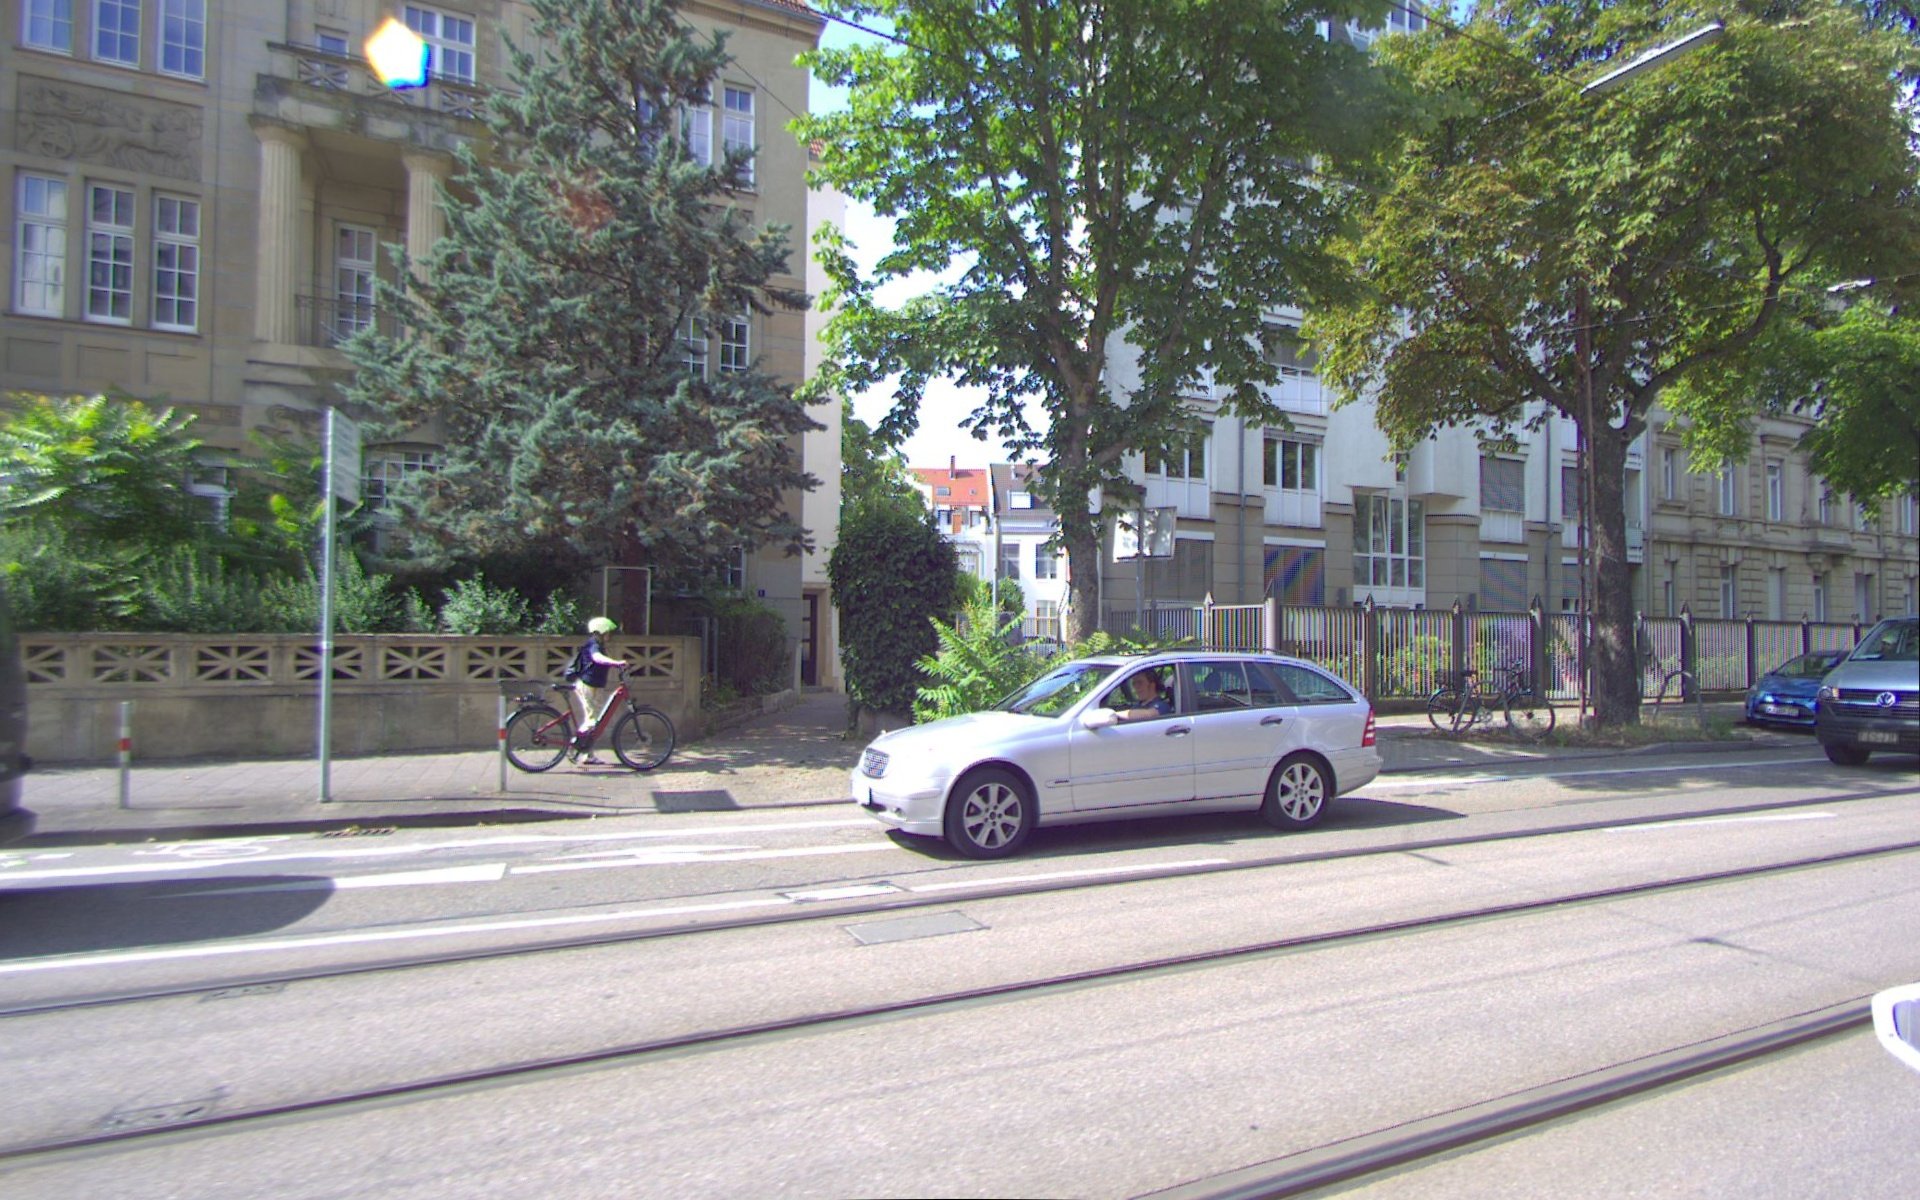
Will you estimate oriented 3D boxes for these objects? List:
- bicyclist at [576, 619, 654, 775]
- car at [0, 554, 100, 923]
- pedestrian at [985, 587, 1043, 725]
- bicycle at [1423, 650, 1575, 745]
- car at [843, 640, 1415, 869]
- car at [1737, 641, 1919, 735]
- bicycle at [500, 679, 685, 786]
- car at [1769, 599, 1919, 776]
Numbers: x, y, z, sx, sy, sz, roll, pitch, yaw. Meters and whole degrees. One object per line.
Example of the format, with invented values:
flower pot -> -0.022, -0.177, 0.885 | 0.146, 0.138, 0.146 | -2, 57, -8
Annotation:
bicyclist -> -3.919, 1.063, 11.382 | 0.693, 1.666, 0.947 | 2, 0, -26
car -> -7.445, 0.680, 4.470 | 5.053, 1.941, 1.923 | 2, -5, -24
pedestrian -> 0.821, 0.834, 15.228 | 0.789, 2.040, 0.485 | 2, 0, 8
bicycle -> 8.301, 1.477, 15.575 | 2.018, 1.326, 0.620 | 1, -1, 24
car -> 1.395, 1.109, 8.291 | 4.416, 1.499, 1.690 | 1, -4, -22
car -> 16.512, 1.596, 18.755 | 4.031, 1.539, 1.544 | 2, -1, -26
bicycle -> -4.097, 1.430, 11.178 | 1.836, 0.945, 0.995 | 1, 2, -26
car -> 12.979, 1.062, 12.738 | 5.104, 1.988, 1.983 | 1, -3, -22
